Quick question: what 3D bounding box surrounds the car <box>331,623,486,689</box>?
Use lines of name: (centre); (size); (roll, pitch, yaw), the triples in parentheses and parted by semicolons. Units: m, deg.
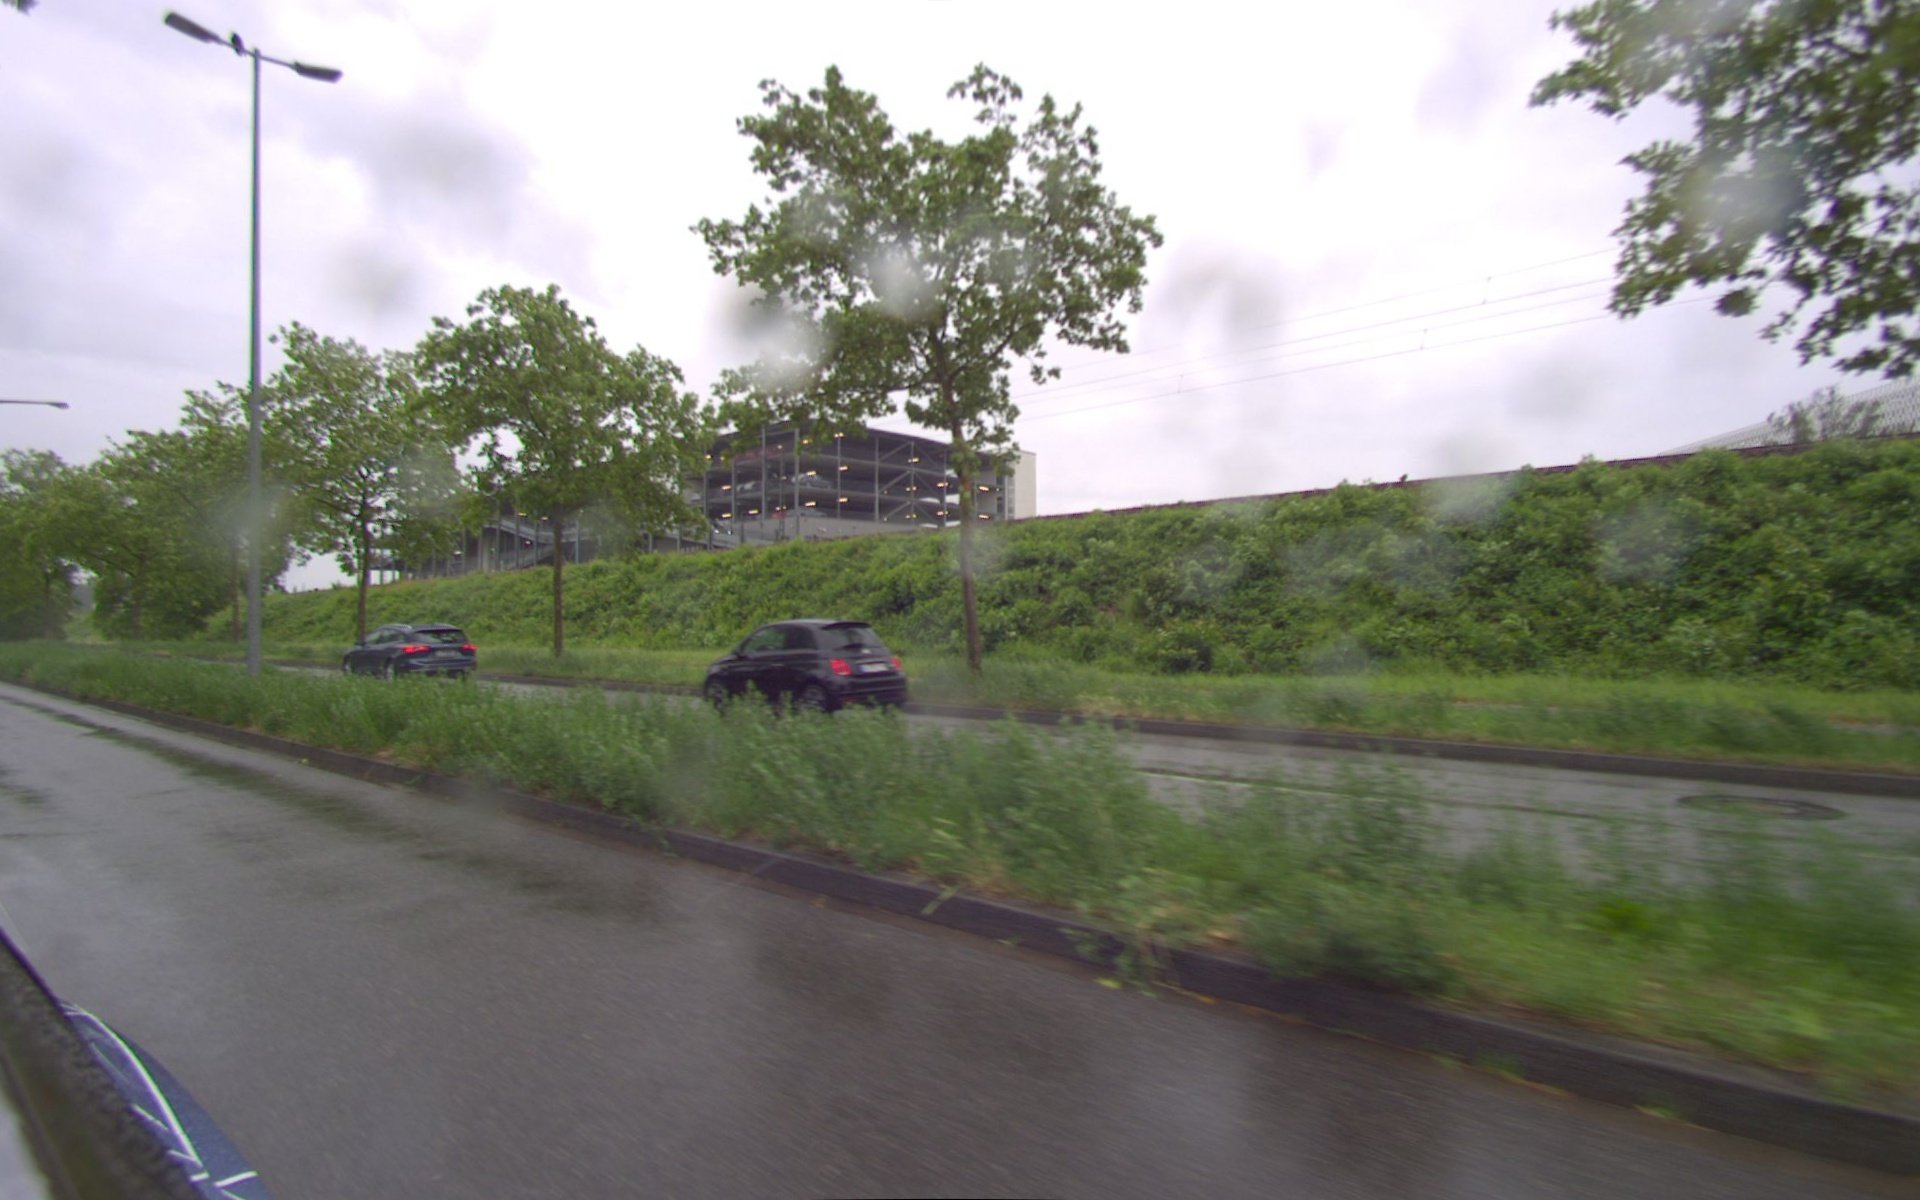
car: (-13.569, 1.322, 24.810); (4.494, 1.456, 1.911); (-2, -1, 41)

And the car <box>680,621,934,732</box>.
car: (-2.399, 1.075, 15.475); (3.705, 1.456, 1.911); (-2, -1, 41)
